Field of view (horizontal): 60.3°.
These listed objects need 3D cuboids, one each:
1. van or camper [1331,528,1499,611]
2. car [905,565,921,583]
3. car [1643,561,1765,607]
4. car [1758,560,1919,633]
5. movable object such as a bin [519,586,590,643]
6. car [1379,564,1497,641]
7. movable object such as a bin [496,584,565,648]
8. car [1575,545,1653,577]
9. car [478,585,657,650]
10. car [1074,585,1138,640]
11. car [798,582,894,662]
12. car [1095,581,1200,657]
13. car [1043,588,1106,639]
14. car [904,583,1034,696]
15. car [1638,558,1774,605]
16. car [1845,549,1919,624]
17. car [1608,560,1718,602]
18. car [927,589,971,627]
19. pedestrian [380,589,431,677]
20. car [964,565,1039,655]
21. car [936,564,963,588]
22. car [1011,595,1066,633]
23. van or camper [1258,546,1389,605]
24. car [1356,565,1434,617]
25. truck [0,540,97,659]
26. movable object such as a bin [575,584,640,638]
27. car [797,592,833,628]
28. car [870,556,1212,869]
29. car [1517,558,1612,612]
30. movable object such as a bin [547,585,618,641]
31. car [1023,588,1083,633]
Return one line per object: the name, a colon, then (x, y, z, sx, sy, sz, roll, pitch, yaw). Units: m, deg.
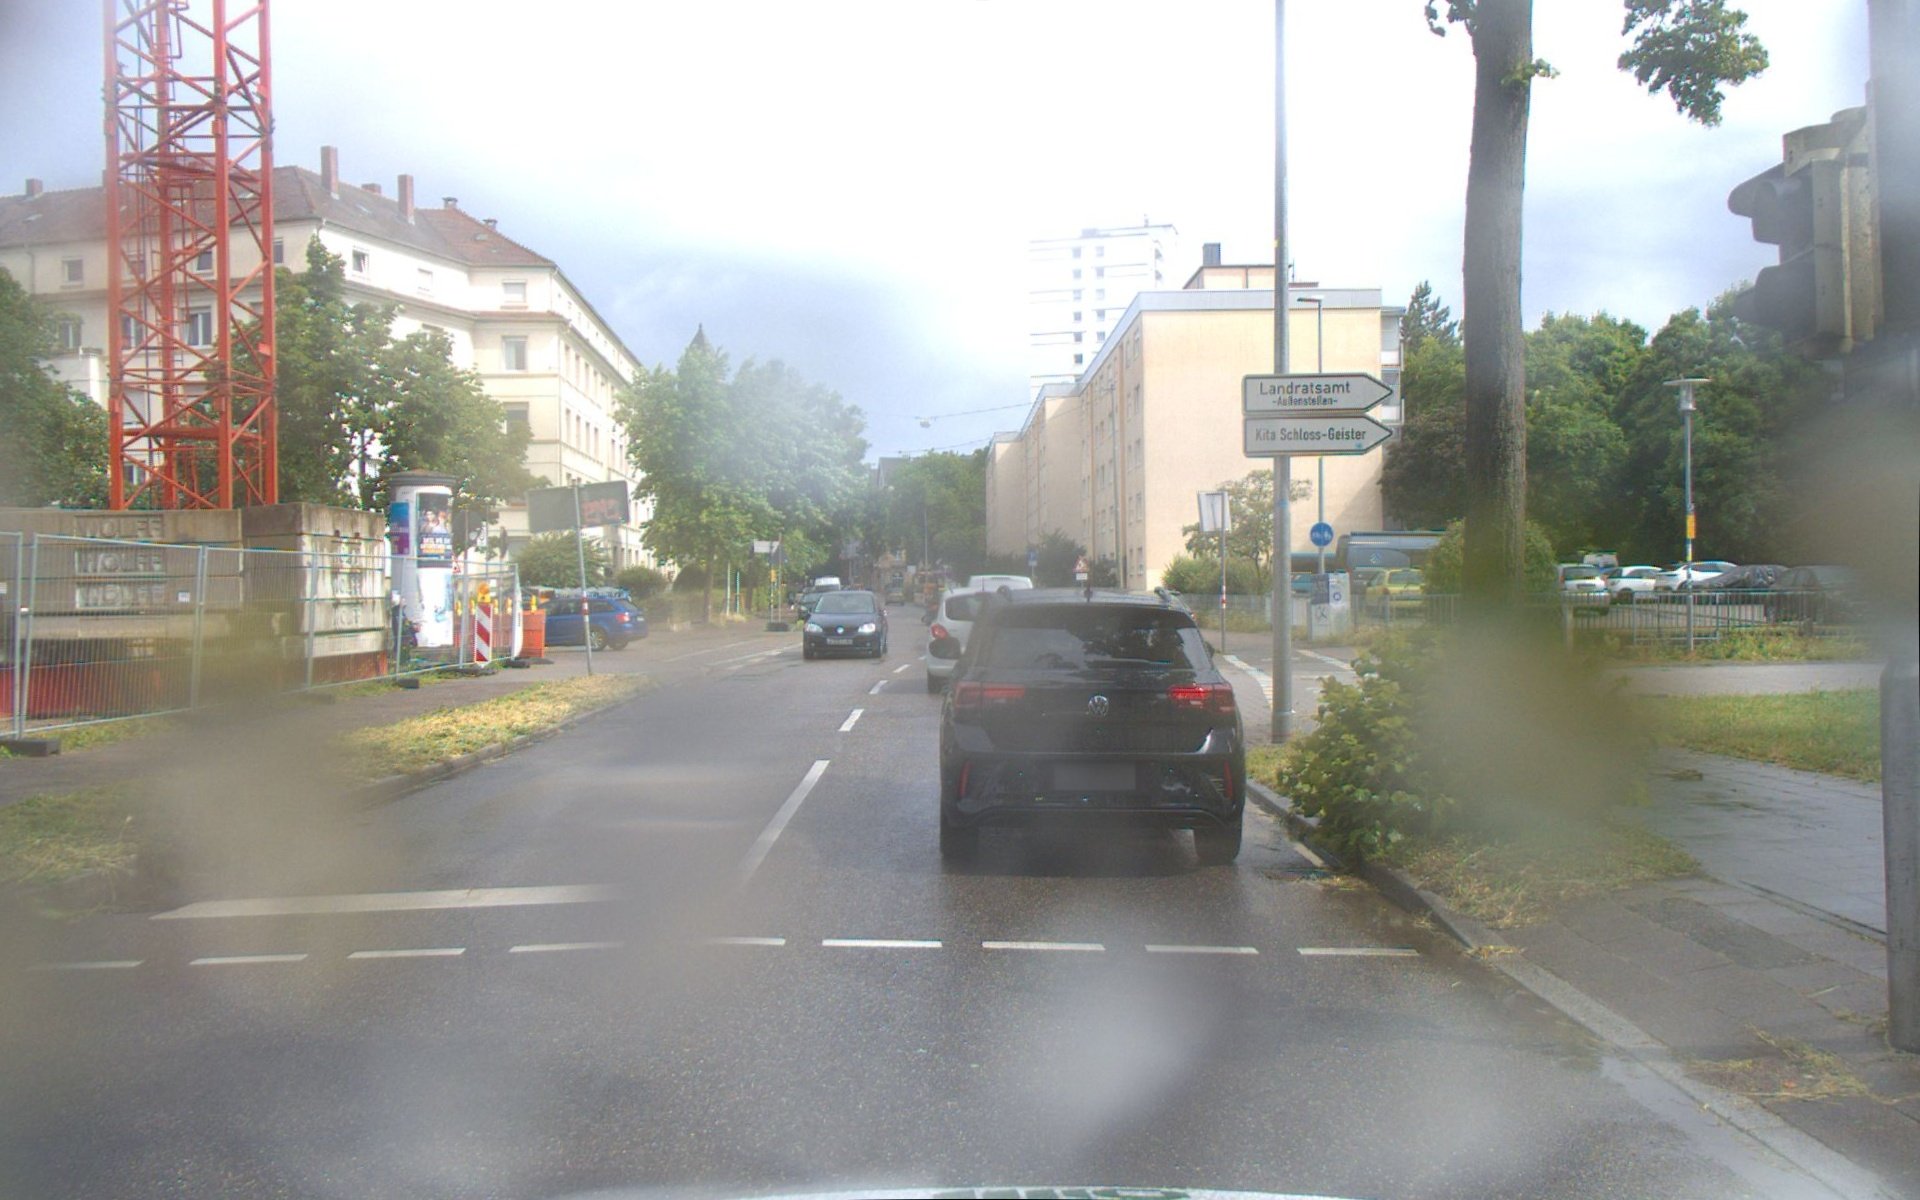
van or camper: (14.848, -0.980, 54.203, 4.895, 2.599, 2.175, -1, -1, 1)
car: (-5.208, -2.834, 181.209, 1.632, 1.870, 3.998, -2, 1, -3)
car: (26.540, -0.554, 59.086, 3.590, 1.512, 1.640, -2, 0, 3)
car: (20.497, -0.098, 38.653, 1.790, 1.553, 4.426, -2, 0, 4)
movable object such as a bin: (-12.585, 0.451, 51.354, 1.505, 1.685, 1.528, -1, 1, 18)
car: (11.829, 0.042, 41.200, 1.766, 1.780, 4.239, -2, 0, 2)
movable object such as a bin: (-12.920, 0.466, 49.809, 1.505, 1.856, 1.264, -1, 1, 18)
car: (31.863, -1.897, 80.615, 3.158, 1.422, 1.509, -2, 0, 3)
car: (-10.701, 0.476, 45.201, 4.338, 1.612, 1.823, -2, 0, 10)
car: (4.404, 0.403, 50.431, 1.720, 1.554, 4.001, 1, -1, 2)
car: (-2.520, 0.452, 37.445, 1.803, 1.636, 4.000, -3, 0, 1)
car: (4.322, 0.407, 38.751, 1.738, 1.566, 4.376, -3, 1, -2)
car: (3.781, 0.437, 55.130, 1.572, 1.534, 4.157, -3, 0, -3)
car: (0.107, 0.562, 24.882, 1.776, 1.529, 3.999, 1, -1, 0)
car: (25.576, -0.631, 56.758, 3.892, 1.490, 1.673, -2, 0, 1)
car: (22.870, -0.351, 39.105, 1.814, 1.708, 4.426, -2, 0, 5)
car: (27.250, -0.735, 64.185, 3.590, 1.512, 1.640, -2, 0, 3)
car: (-0.493, 0.322, 70.501, 1.573, 1.536, 3.545, -2, 0, -4)
pedestrian: (-10.554, 0.621, 31.457, 0.716, 1.658, 0.675, 1, -1, -38)
car: (1.057, 0.254, 42.142, 1.798, 2.139, 4.000, 1, -1, 1)
car: (-0.740, -1.704, 118.263, 1.803, 1.636, 3.676, -3, 0, 1)
car: (3.148, 0.532, 66.971, 1.683, 1.478, 4.255, 0, 0, -5)
van or camper: (14.096, -0.964, 64.343, 4.660, 2.168, 2.323, -1, 1, 3)
car: (13.248, -0.287, 50.532, 1.577, 1.474, 3.418, -2, 0, 2)
truck: (-30.484, 0.100, 47.814, 9.603, 3.240, 3.795, -2, 0, 13)
movable object such as a bin: (-11.586, 0.342, 54.445, 1.505, 1.691, 1.459, -1, 1, 18)
car: (-6.698, 0.442, 76.418, 1.555, 1.532, 4.060, -2, 1, -5)
car: (0.424, 0.624, 11.009, 1.835, 1.674, 4.061, 1, 0, -1)
car: (18.239, -0.450, 50.081, 1.614, 1.512, 3.719, -2, 0, 2)
movable object such as a bin: (-12.071, 0.408, 52.922, 1.505, 1.703, 1.666, -1, 1, 18)
car: (3.434, 0.426, 61.699, 1.714, 1.534, 4.108, -1, -2, -4)
